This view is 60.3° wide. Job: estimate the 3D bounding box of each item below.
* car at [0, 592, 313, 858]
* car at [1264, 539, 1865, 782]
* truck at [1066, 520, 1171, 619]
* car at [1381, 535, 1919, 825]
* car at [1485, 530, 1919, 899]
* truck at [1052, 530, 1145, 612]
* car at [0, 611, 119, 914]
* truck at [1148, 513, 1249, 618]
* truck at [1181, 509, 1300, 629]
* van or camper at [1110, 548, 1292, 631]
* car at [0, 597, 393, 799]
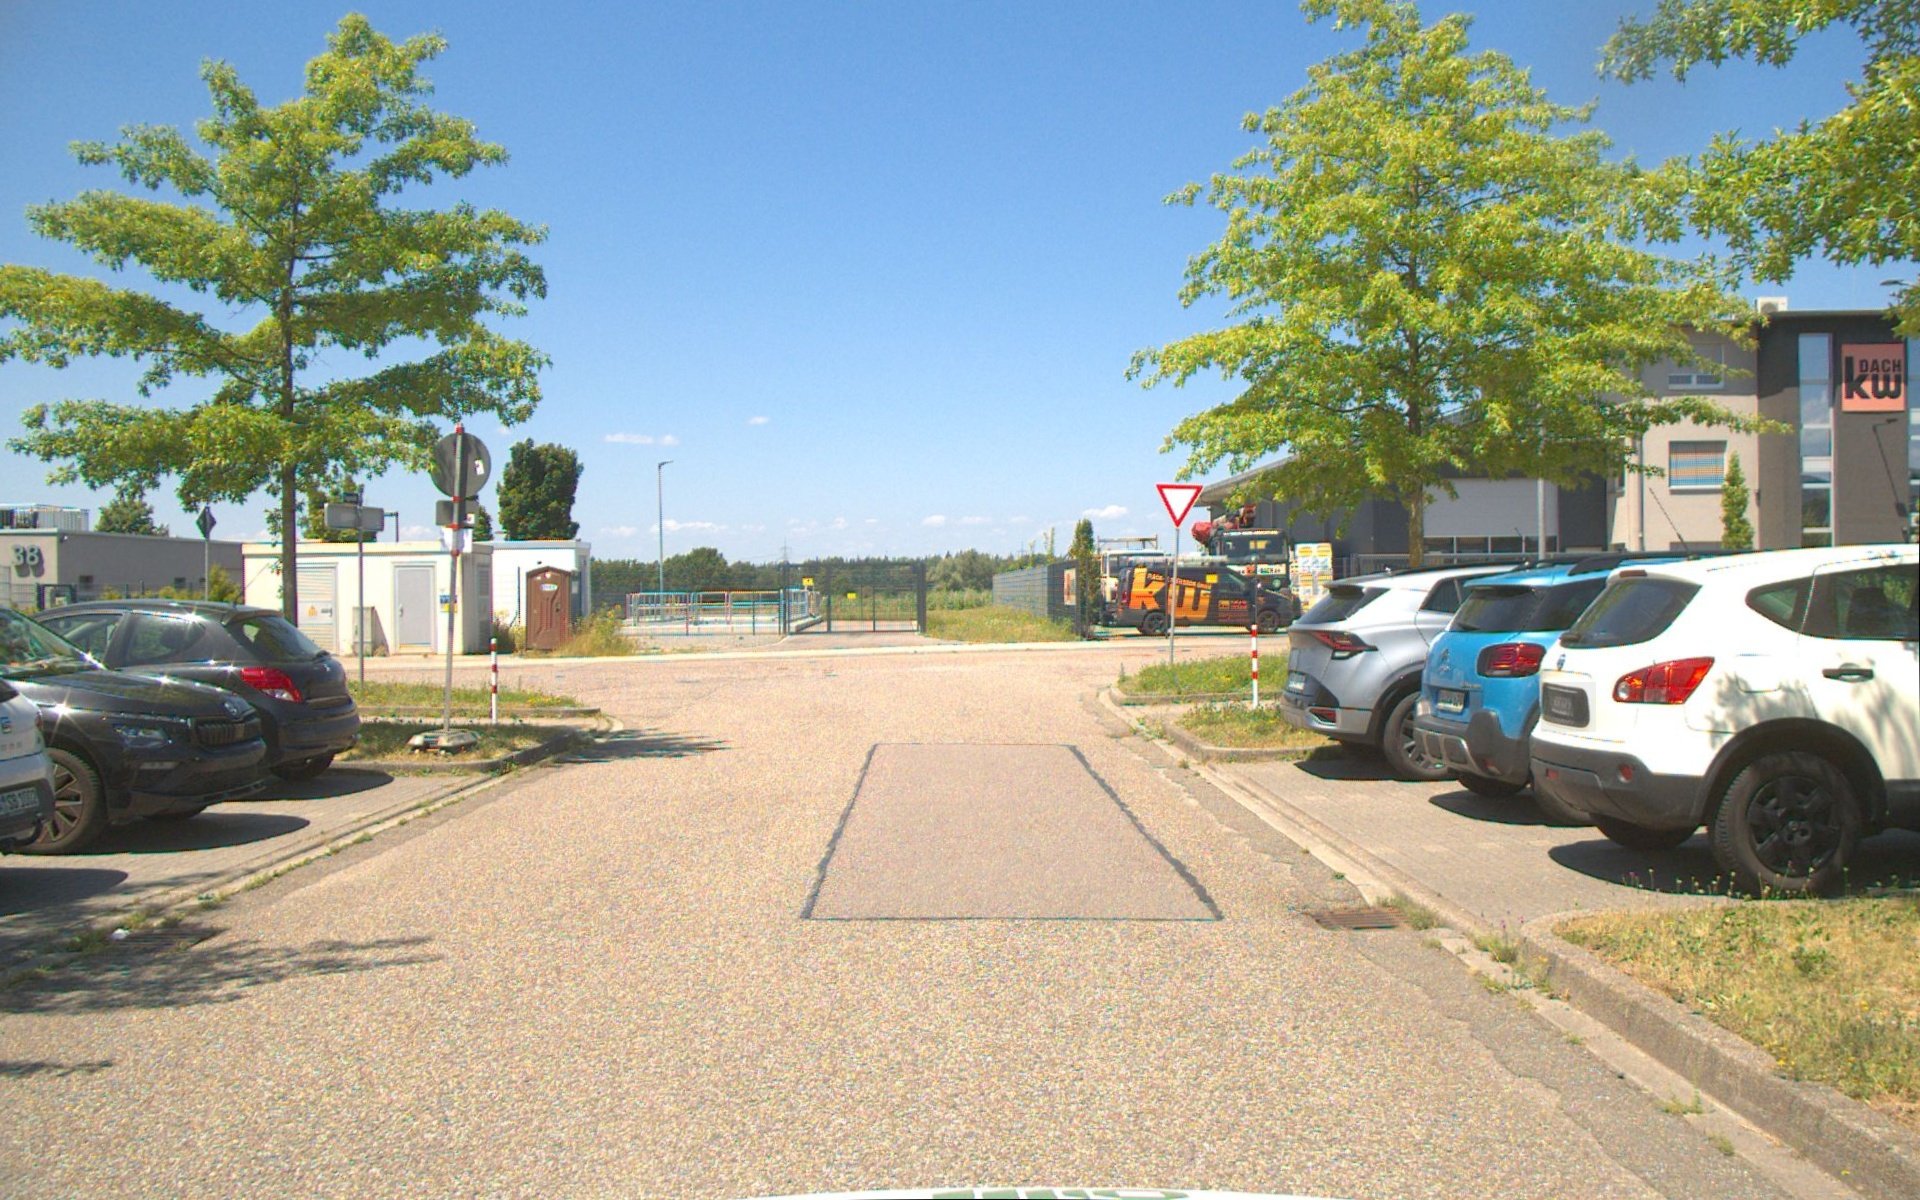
[{"bbox_3d":[-6.437,0.723,10.613,3.849,1.547,1.784,1,0,-4],"label":"car"},{"bbox_3d":[4.776,0.449,13.511,4.192,1.673,1.850,-2,0,-1],"label":"car"},{"bbox_3d":[5.284,-1.007,56.204,2.671,3.115,6.934,-1,1,-1],"label":"truck"},{"bbox_3d":[5.026,0.460,11.038,3.906,1.673,1.838,-2,0,-2],"label":"car"},{"bbox_3d":[5.027,0.479,8.543,3.985,1.636,1.901,-2,-1,0],"label":"car"},{"bbox_3d":[5.322,-1.102,64.652,2.862,2.989,6.934,-1,1,-1],"label":"truck"},{"bbox_3d":[-6.675,0.765,8.219,3.995,1.449,1.872,1,0,-5],"label":"car"},{"bbox_3d":[9.568,-1.356,66.999,2.862,3.998,6.934,-1,1,-1],"label":"truck"},{"bbox_3d":[9.896,-1.075,59.026,2.862,3.998,6.934,-1,1,-1],"label":"truck"},{"bbox_3d":[6.781,-0.319,46.860,4.836,2.201,2.000,-1,1,-2],"label":"van or camper"},{"bbox_3d":[-6.610,0.737,13.236,3.553,1.461,1.725,1,0,-4],"label":"car"}]
